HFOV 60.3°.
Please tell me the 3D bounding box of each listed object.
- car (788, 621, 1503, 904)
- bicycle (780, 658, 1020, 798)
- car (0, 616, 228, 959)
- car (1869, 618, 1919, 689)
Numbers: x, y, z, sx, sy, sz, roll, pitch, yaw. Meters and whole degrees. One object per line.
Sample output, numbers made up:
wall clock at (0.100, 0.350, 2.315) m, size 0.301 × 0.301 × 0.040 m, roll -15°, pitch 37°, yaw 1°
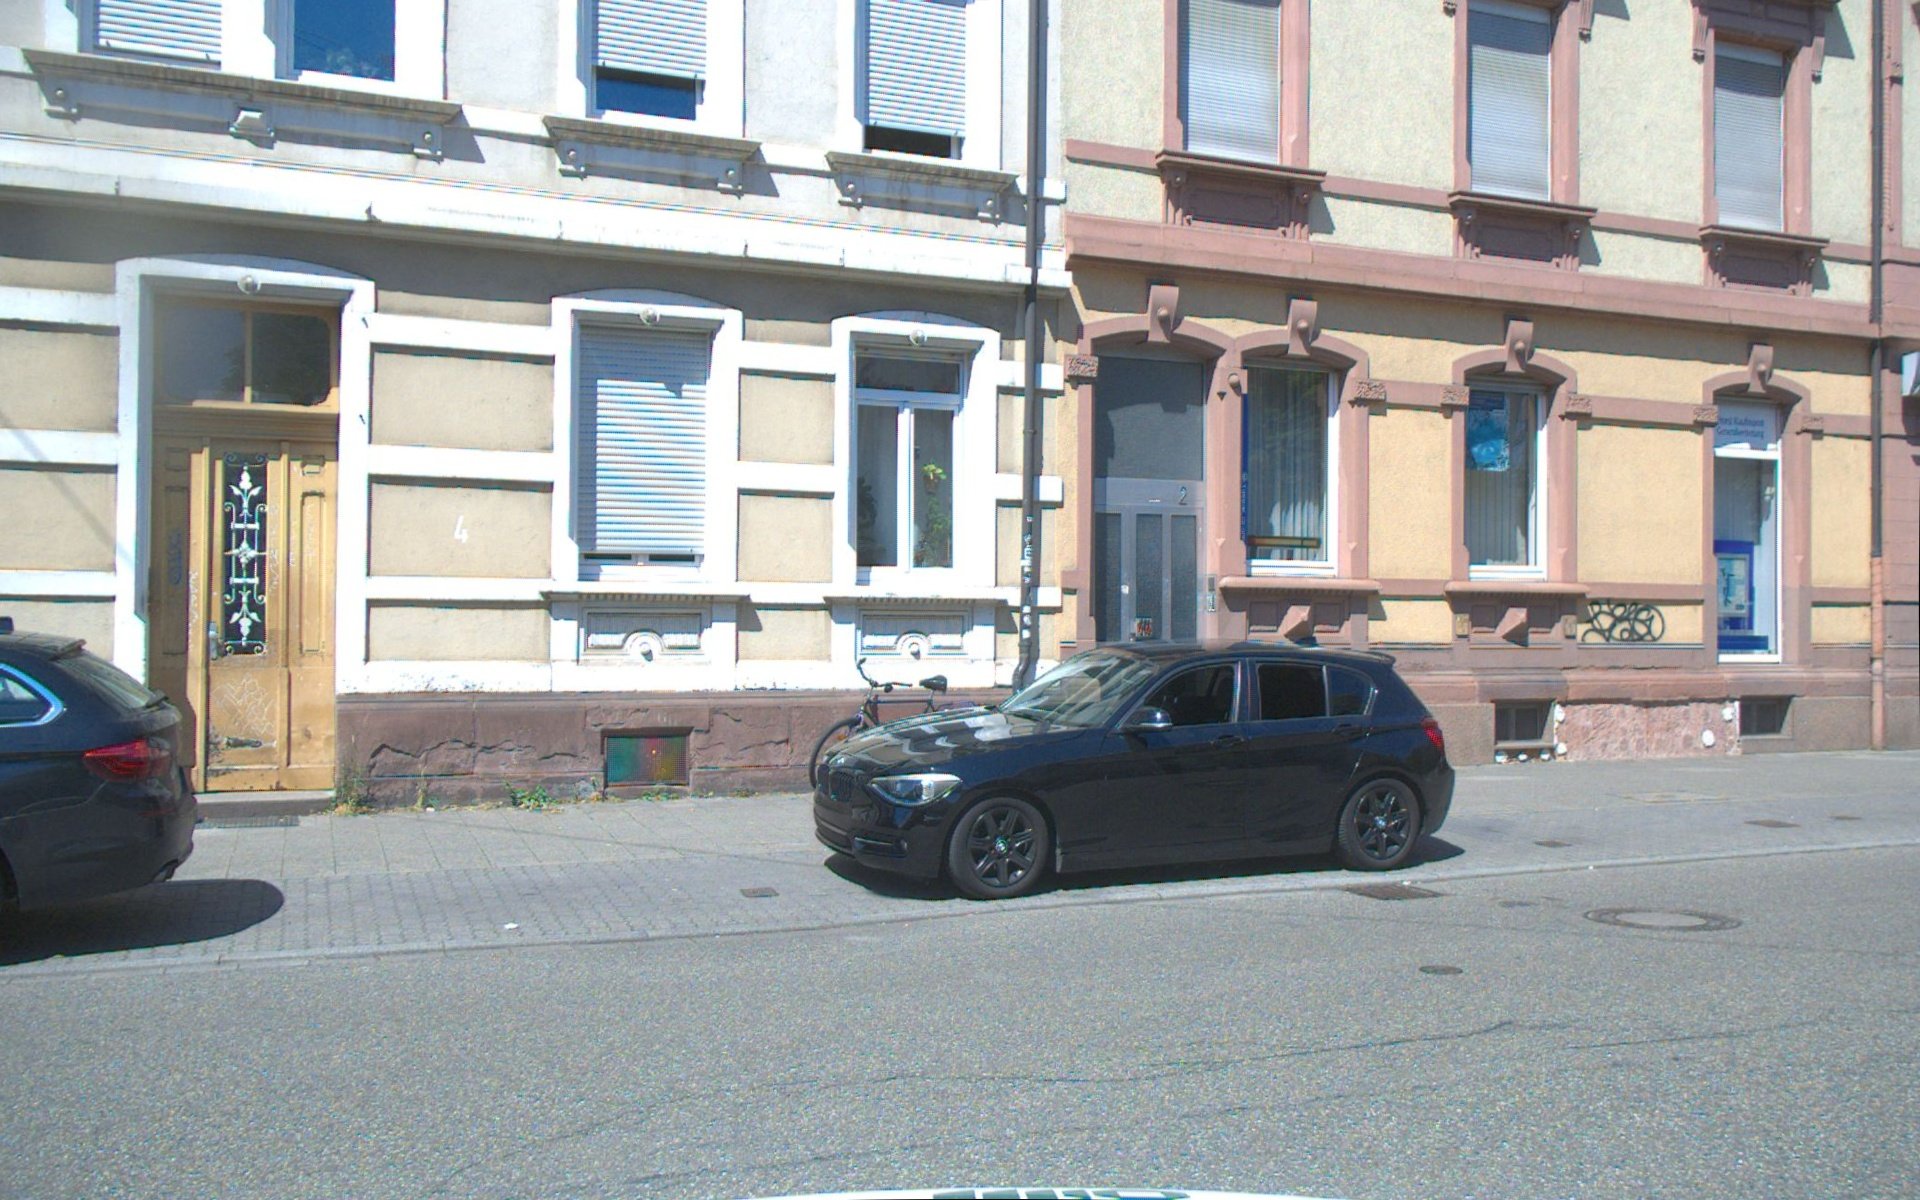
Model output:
car at (1.178, 0.900, 10.580) m, size 4.235 × 1.394 × 1.795 m, roll 0°, pitch 2°, yaw -23°
bicycle at (-0.482, 1.034, 13.701) m, size 1.979 × 1.039 × 0.421 m, roll 0°, pitch 2°, yaw -25°
car at (-5.958, 0.836, 7.429) m, size 4.792 × 1.462 × 1.986 m, roll 0°, pitch -1°, yaw -23°
car at (23.404, 1.186, 38.010) m, size 4.216 × 1.579 × 1.885 m, roll -1°, pitch -1°, yaw -12°
